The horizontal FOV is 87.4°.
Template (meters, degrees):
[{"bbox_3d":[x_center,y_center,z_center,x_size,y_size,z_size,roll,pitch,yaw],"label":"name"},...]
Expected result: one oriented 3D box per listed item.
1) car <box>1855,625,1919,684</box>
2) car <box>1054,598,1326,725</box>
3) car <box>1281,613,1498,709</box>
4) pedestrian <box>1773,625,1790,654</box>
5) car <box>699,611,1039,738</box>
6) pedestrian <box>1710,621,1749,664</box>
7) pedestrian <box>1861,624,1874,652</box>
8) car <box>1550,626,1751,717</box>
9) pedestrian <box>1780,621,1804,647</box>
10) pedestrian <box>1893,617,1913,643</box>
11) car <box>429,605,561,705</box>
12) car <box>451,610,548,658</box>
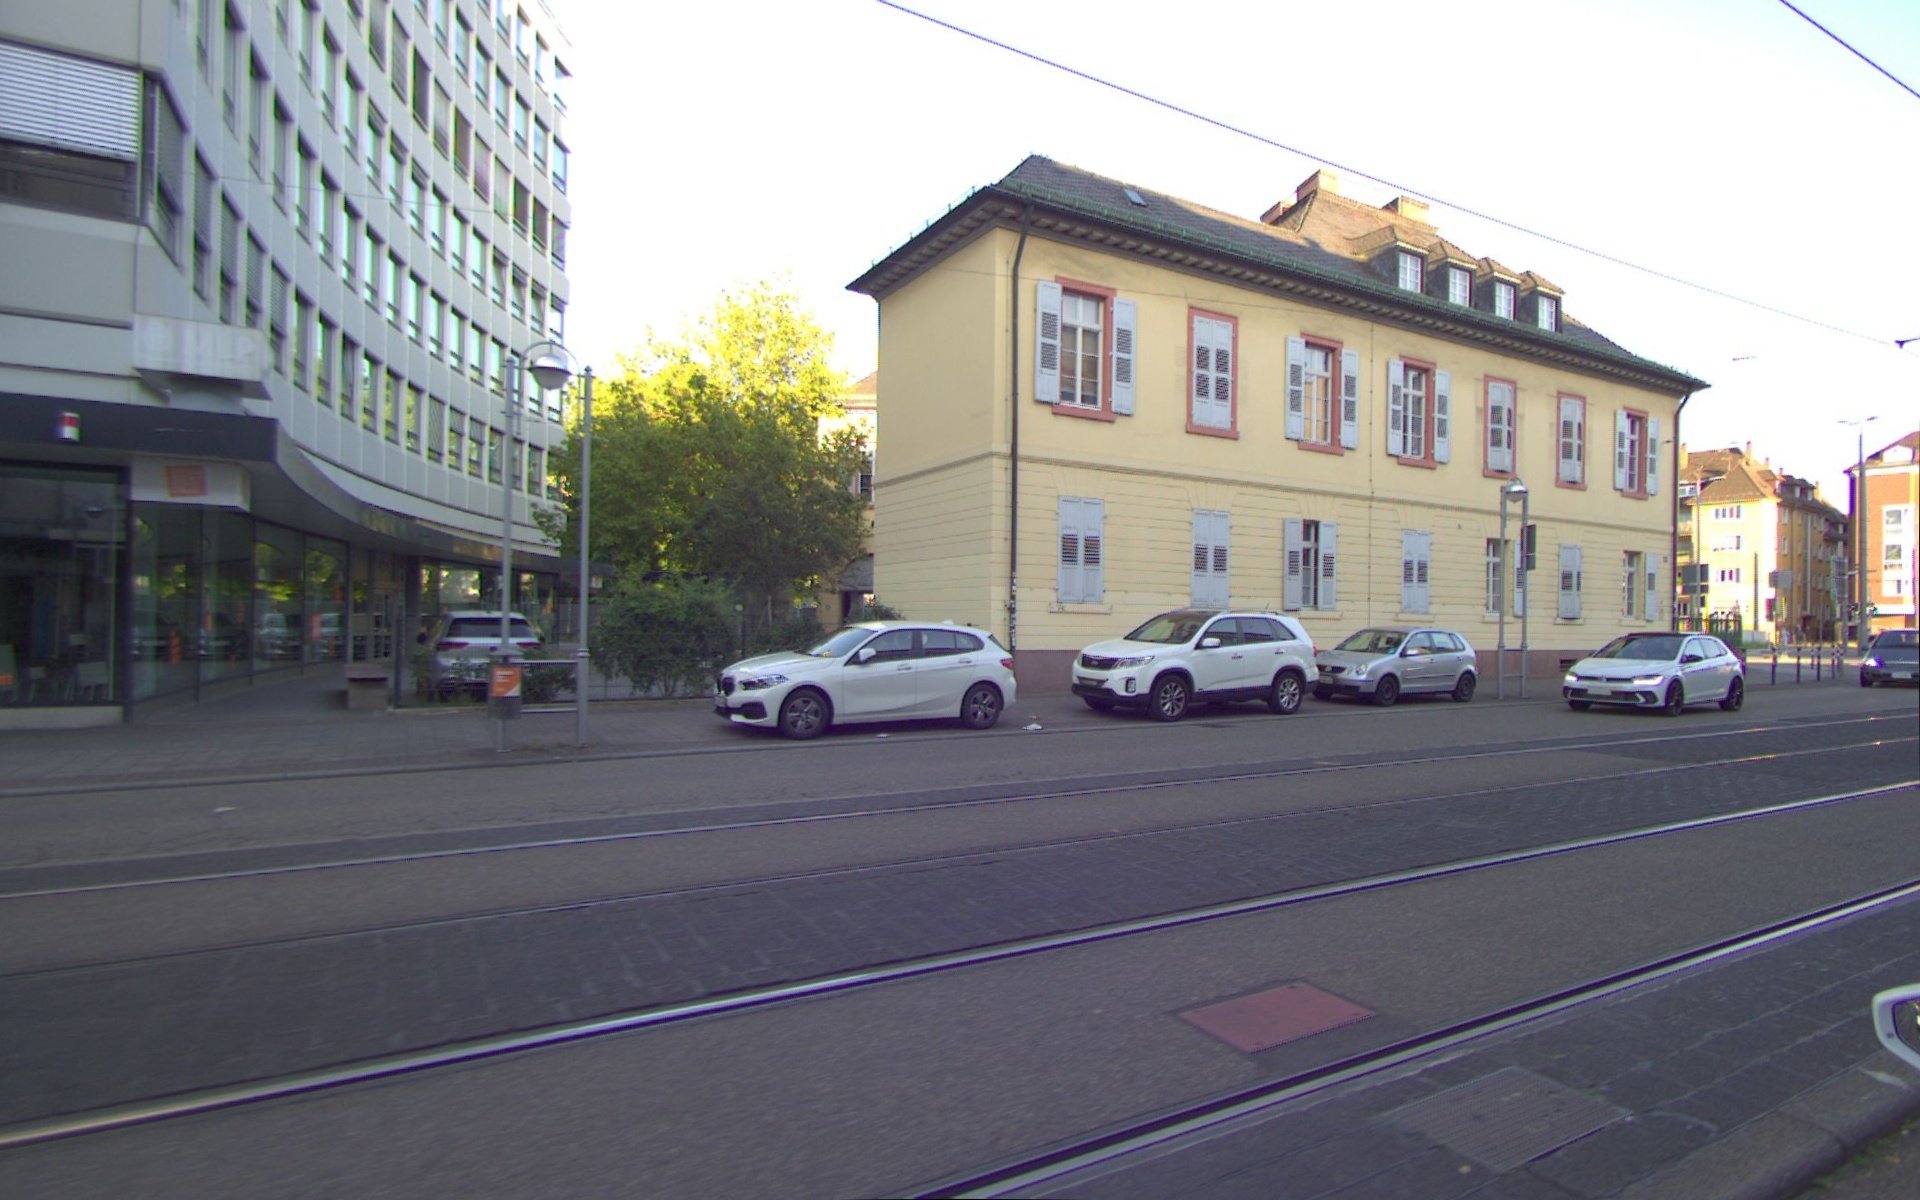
[{"bbox_3d":[26.507,1.492,28.028,4.002,1.532,1.721,1,-1,-40],"label":"car"},{"bbox_3d":[3.909,0.957,16.847,4.449,1.809,1.802,1,2,-33],"label":"car"},{"bbox_3d":[8.545,1.124,19.911,4.166,1.639,1.803,1,2,-31],"label":"car"},{"bbox_3d":[53.981,2.580,66.033,0.872,1.892,0.972,0,-1,39],"label":"pedestrian"},{"bbox_3d":[-1.218,0.947,13.964,4.377,1.532,1.805,1,-1,-29],"label":"car"},{"bbox_3d":[29.187,1.611,38.111,0.720,1.605,0.954,1,-1,-8],"label":"pedestrian"},{"bbox_3d":[64.202,2.683,71.077,0.557,1.893,0.499,1,1,-35],"label":"pedestrian"},{"bbox_3d":[13.082,1.267,18.967,3.992,1.532,1.795,1,-1,-34],"label":"car"},{"bbox_3d":[63.007,2.594,76.081,1.085,1.970,1.019,1,-1,-25],"label":"pedestrian"},{"bbox_3d":[71.292,2.264,75.952,0.831,1.893,0.932,1,1,-39],"label":"pedestrian"},{"bbox_3d":[-7.985,0.862,17.106,1.823,1.486,3.972,1,-1,-27],"label":"car"},{"bbox_3d":[-15.566,1.127,34.186,1.726,1.506,3.997,1,-1,-5],"label":"car"}]
